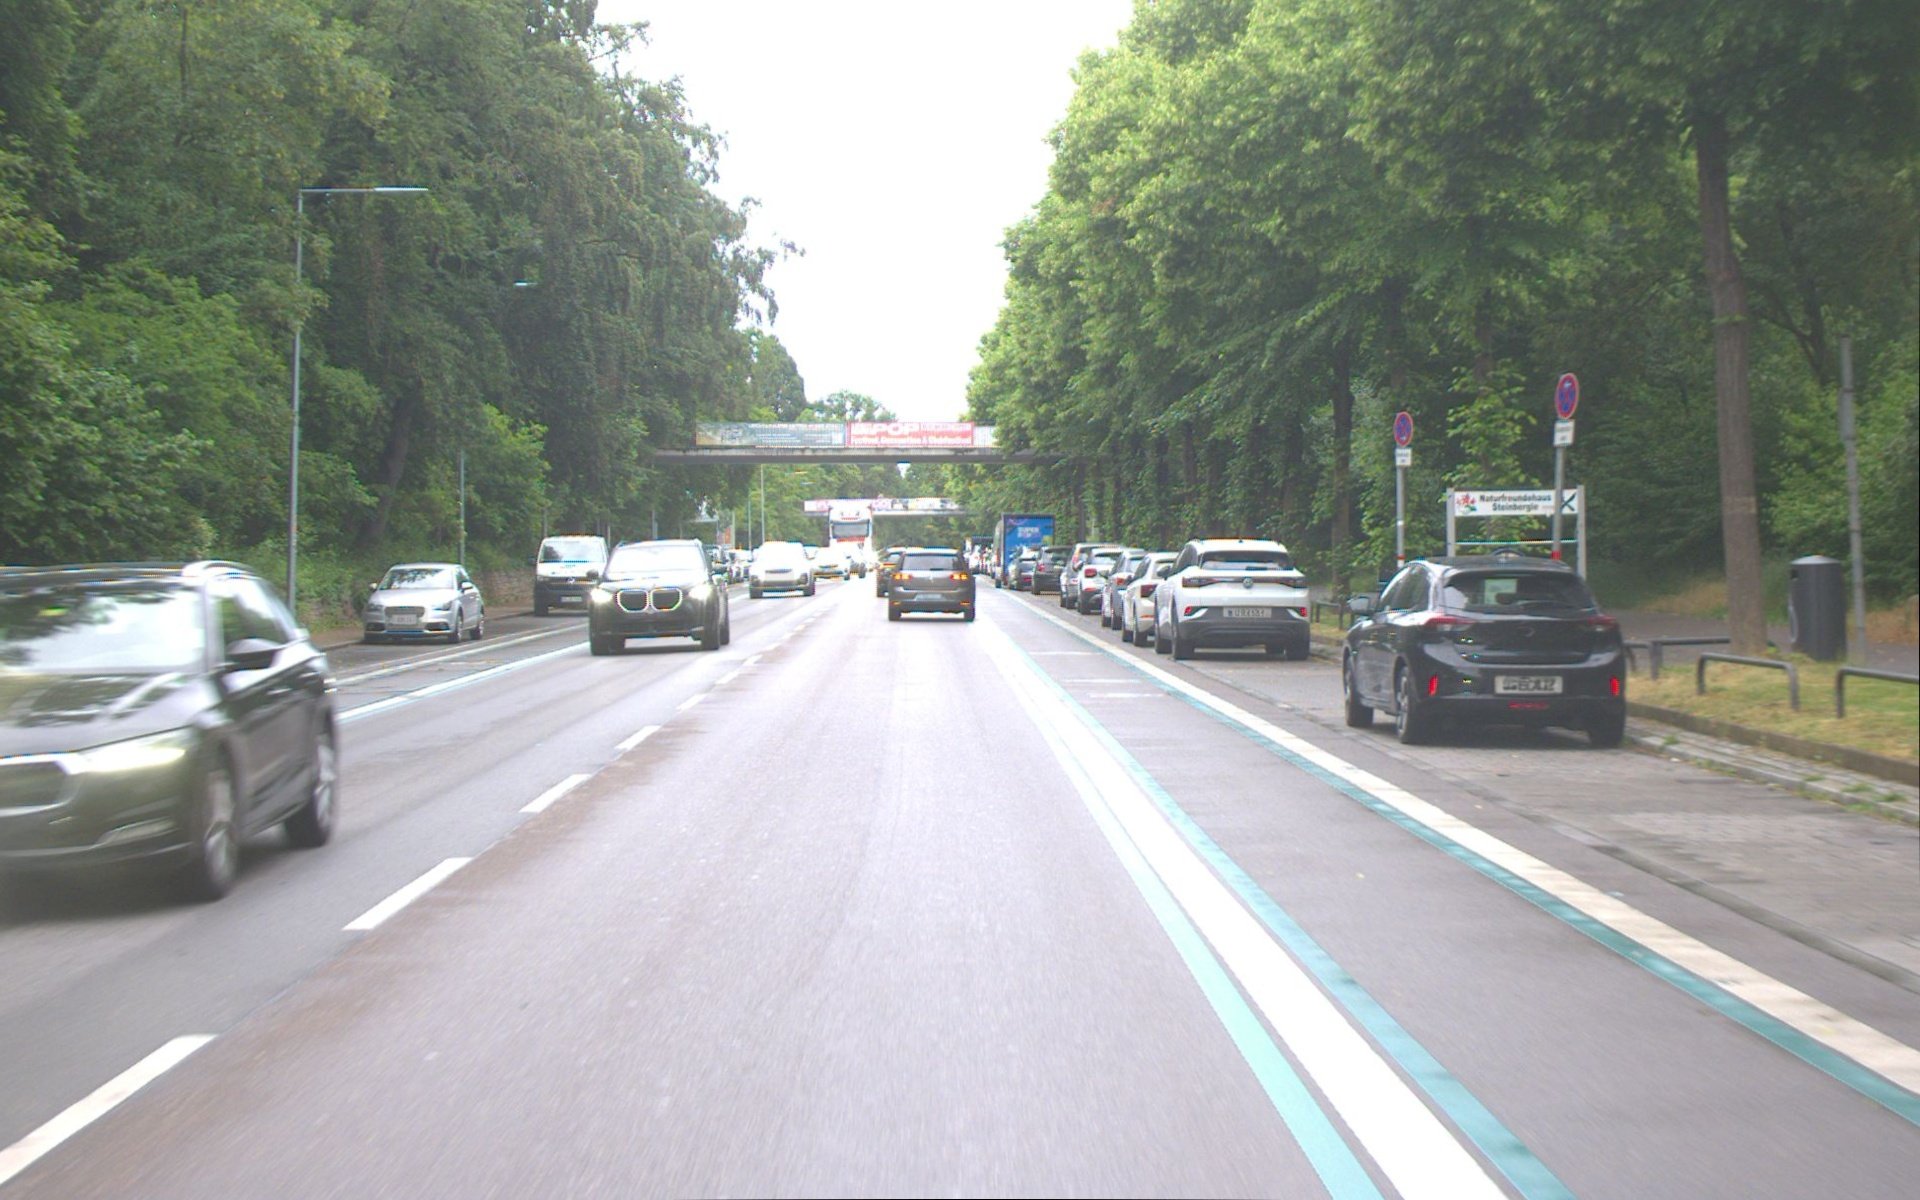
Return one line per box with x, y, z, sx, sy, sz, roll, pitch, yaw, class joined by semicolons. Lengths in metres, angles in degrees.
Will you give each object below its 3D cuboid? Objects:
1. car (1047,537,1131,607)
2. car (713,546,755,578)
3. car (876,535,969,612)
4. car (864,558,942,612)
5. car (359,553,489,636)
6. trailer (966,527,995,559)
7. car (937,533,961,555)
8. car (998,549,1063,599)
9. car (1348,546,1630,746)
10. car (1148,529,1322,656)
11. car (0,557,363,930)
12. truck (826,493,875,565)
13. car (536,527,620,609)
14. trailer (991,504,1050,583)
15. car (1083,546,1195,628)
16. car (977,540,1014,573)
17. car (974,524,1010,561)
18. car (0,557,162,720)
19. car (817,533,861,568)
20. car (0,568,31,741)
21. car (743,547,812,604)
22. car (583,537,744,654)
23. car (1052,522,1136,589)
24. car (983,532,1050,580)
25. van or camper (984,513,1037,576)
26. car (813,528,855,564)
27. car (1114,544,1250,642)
2.880;-0.654;77.631;1.698;1.508;4.469;1;1;0;car
-10.703;-1.810;163.108;1.956;1.458;4.757;0;1;-4;car
-0.745;-0.569;69.994;1.818;1.503;4.139;1;1;0;car
-1.692;-0.467;101.129;2.140;1.487;4.499;1;1;-3;car
-9.612;-0.124;61.924;1.690;1.400;4.028;1;1;0;car
1.403;-3.899;235.660;1.884;2.158;3.808;-1;1;0;trailer
-0.821;-4.099;253.006;1.731;1.578;4.037;-1;1;0;car
2.164;-0.823;107.089;1.825;1.498;4.571;1;1;-1;car
4.179;0.315;27.692;1.695;1.471;3.998;0;1;1;car
3.752;-0.151;47.620;1.993;1.656;4.563;-1;1;0;car
-4.045;0.560;15.886;1.764;1.452;4.496;-2;1;0;car
-6.480;-4.158;202.201;2.517;4.032;4.917;-3;1;-4;truck
-9.626;-0.833;86.858;1.973;1.998;5.019;0;1;-5;car
2.133;-1.998;121.790;1.952;2.749;4.007;0;1;-1;trailer
3.315;-0.262;64.269;1.698;1.448;4.098;1;1;-2;car
1.771;-2.209;173.984;1.756;1.584;4.499;1;1;-1;car
1.772;-3.206;192.308;1.926;2.015;4.664;1;1;-1;car
-9.155;0.334;33.775;1.754;1.430;4.357;-1;1;-2;car
-5.742;-2.370;163.456;1.961;1.611;4.466;-1;1;-1;car
-8.703;0.485;27.071;1.821;1.393;4.446;0;1;-4;car
-5.543;-0.773;104.887;1.953;1.633;4.445;-1;1;-2;car
-4.398;-0.106;51.603;2.038;1.643;4.477;-1;1;0;car
3.224;-1.101;83.650;1.753;1.591;4.740;0;1;-1;car
1.872;-1.499;115.986;1.899;1.542;4.756;1;1;-3;car
2.218;-2.466;152.782;2.042;2.720;6.901;1;1;-2;van or camper
-5.450;-2.325;148.930;1.775;1.461;4.063;-2;1;-2;car
3.436;-0.140;53.833;1.698;1.448;3.947;1;1;-2;car
